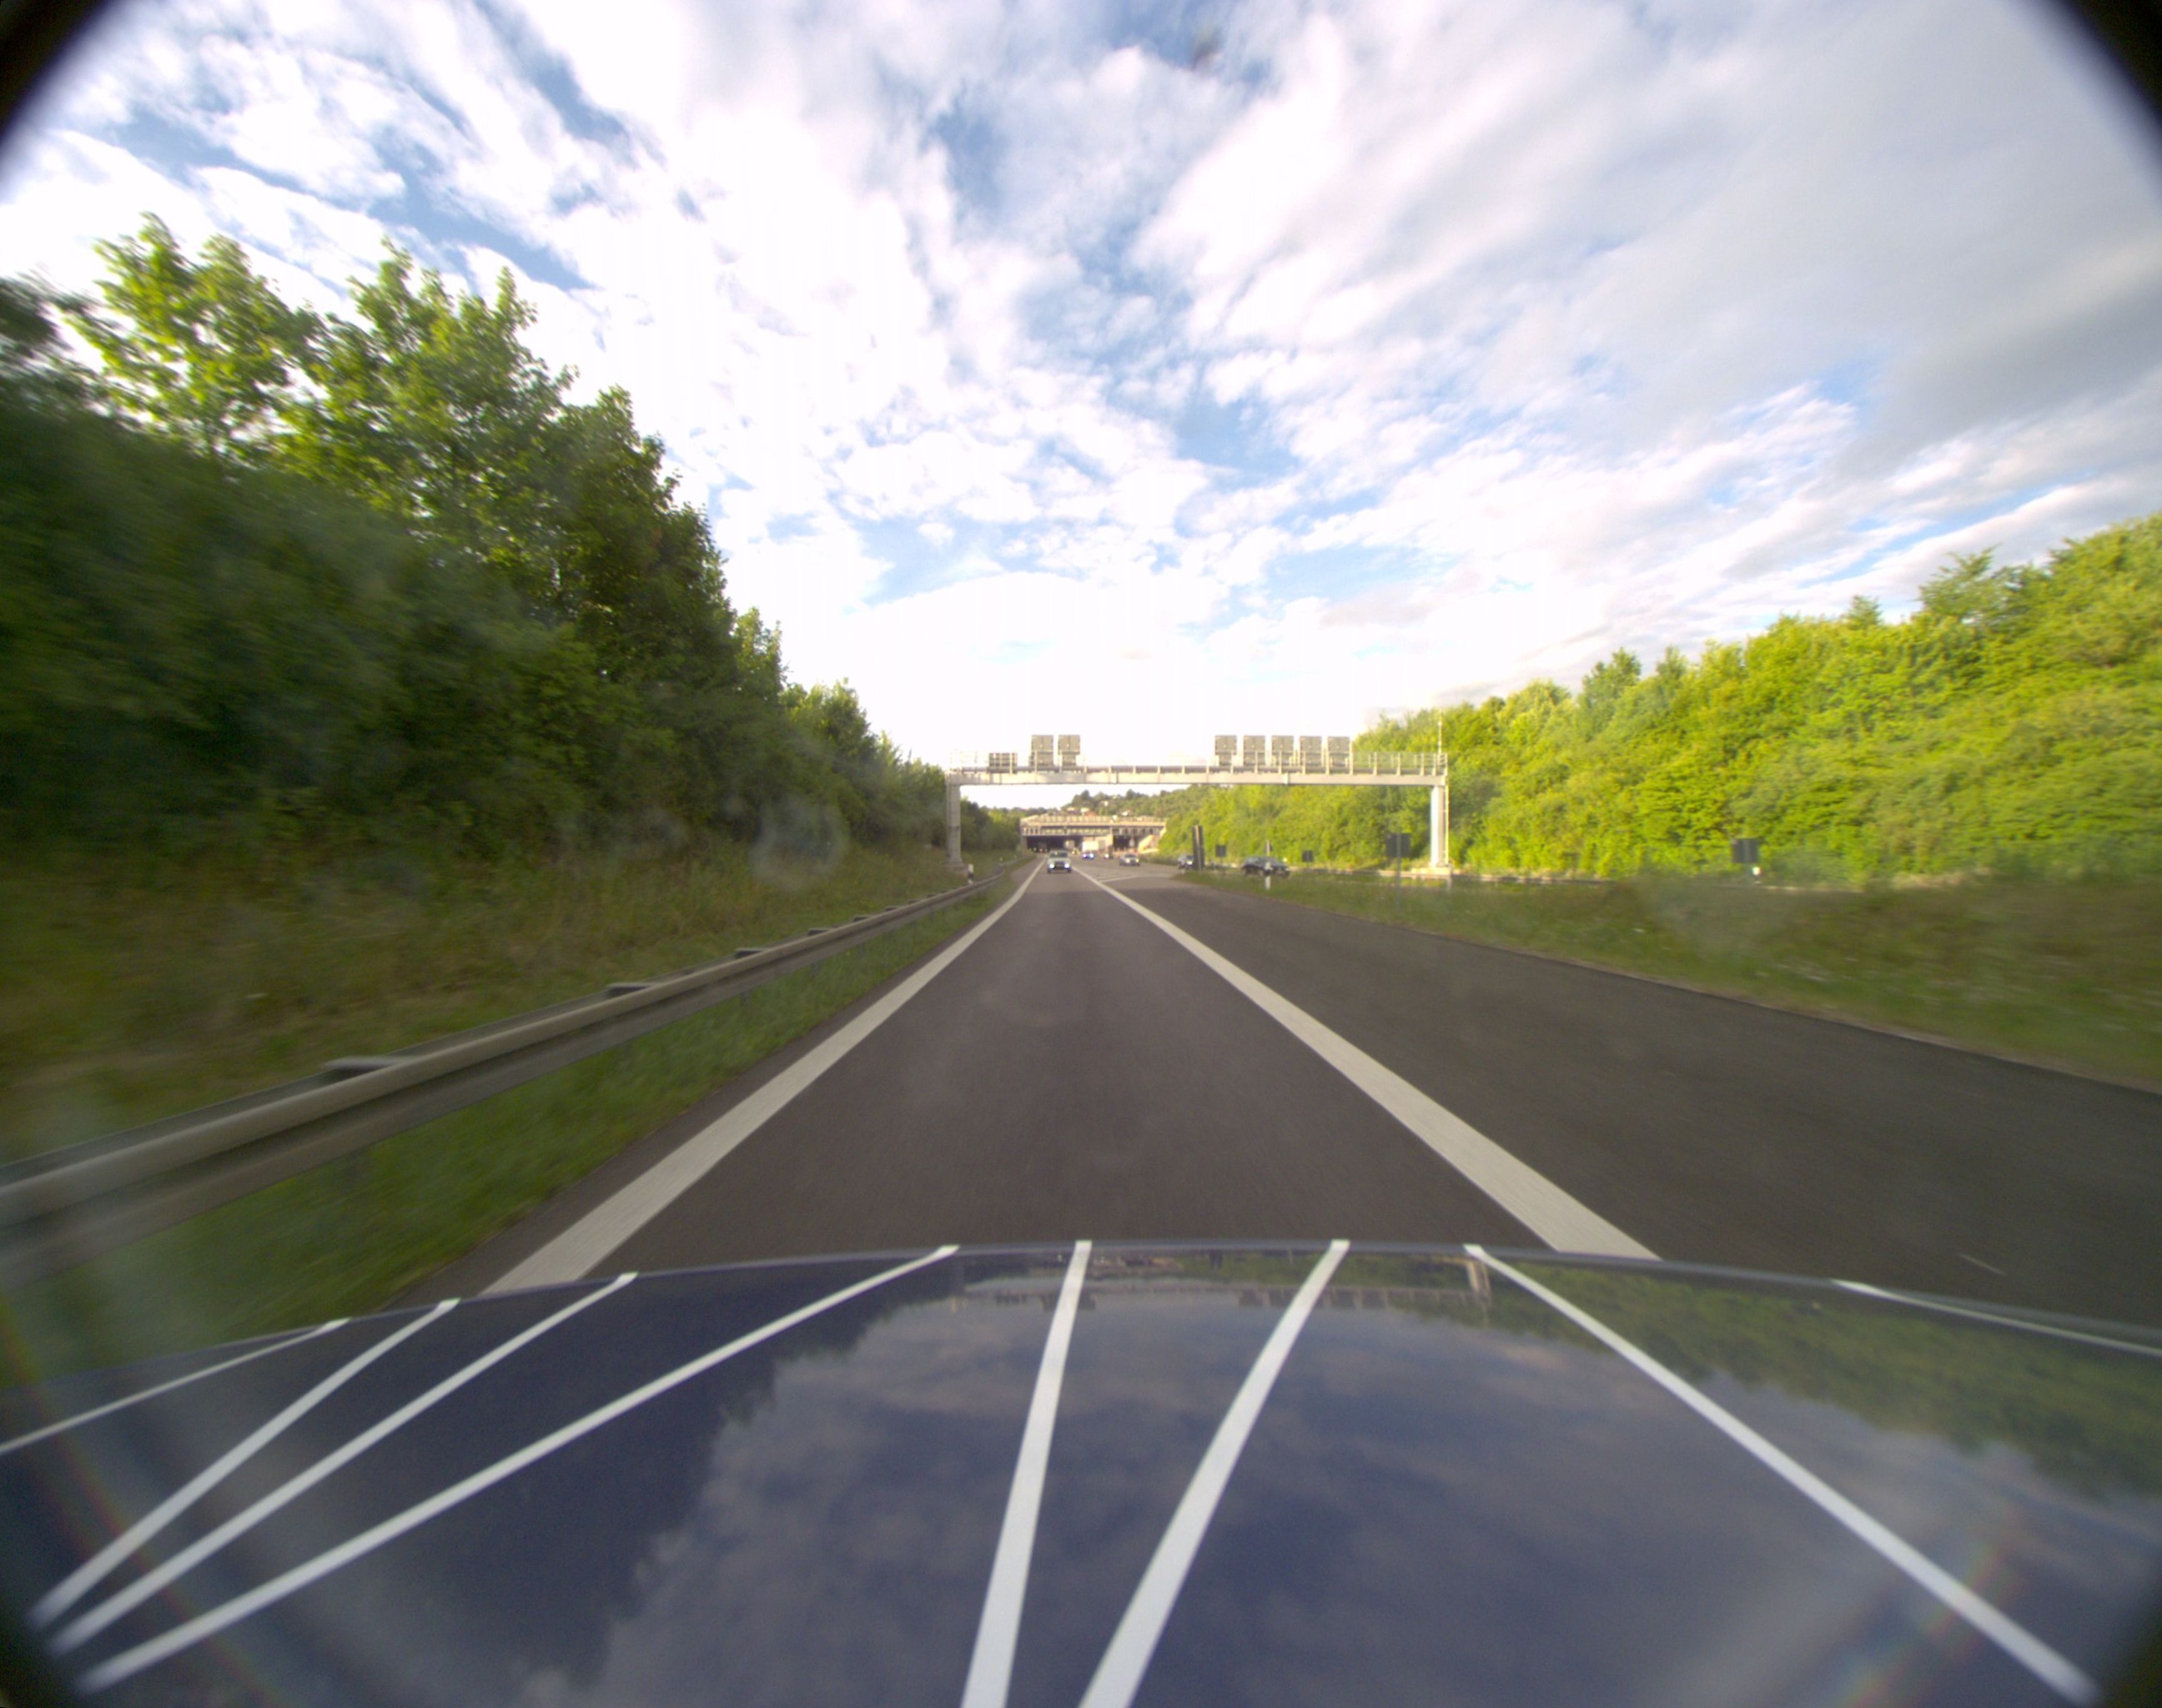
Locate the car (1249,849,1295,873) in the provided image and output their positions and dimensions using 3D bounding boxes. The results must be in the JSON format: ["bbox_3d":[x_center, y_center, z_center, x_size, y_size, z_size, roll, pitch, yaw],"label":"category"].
[{"bbox_3d":[12.100,0.399,48.395,1.762,1.398,3.998,0,1,-2],"label":"car"}]

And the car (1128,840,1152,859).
[{"bbox_3d":[6.453,-0.516,83.501,1.866,2.002,3.997,-2,0,-8],"label":"car"}]

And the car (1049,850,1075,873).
[{"bbox_3d":[-1.522,0.584,61.198,1.905,1.655,3.999,-1,1,0],"label":"car"}]

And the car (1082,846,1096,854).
[{"bbox_3d":[1.564,-0.723,150.164,2.000,1.473,4.942,-3,1,-7],"label":"car"}]

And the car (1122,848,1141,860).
[{"bbox_3d":[5.861,-0.028,88.016,1.798,1.284,3.998,0,1,-2],"label":"car"}]

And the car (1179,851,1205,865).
[{"bbox_3d":[11.064,0.411,76.216,1.880,1.284,3.998,-1,1,-2],"label":"car"}]
